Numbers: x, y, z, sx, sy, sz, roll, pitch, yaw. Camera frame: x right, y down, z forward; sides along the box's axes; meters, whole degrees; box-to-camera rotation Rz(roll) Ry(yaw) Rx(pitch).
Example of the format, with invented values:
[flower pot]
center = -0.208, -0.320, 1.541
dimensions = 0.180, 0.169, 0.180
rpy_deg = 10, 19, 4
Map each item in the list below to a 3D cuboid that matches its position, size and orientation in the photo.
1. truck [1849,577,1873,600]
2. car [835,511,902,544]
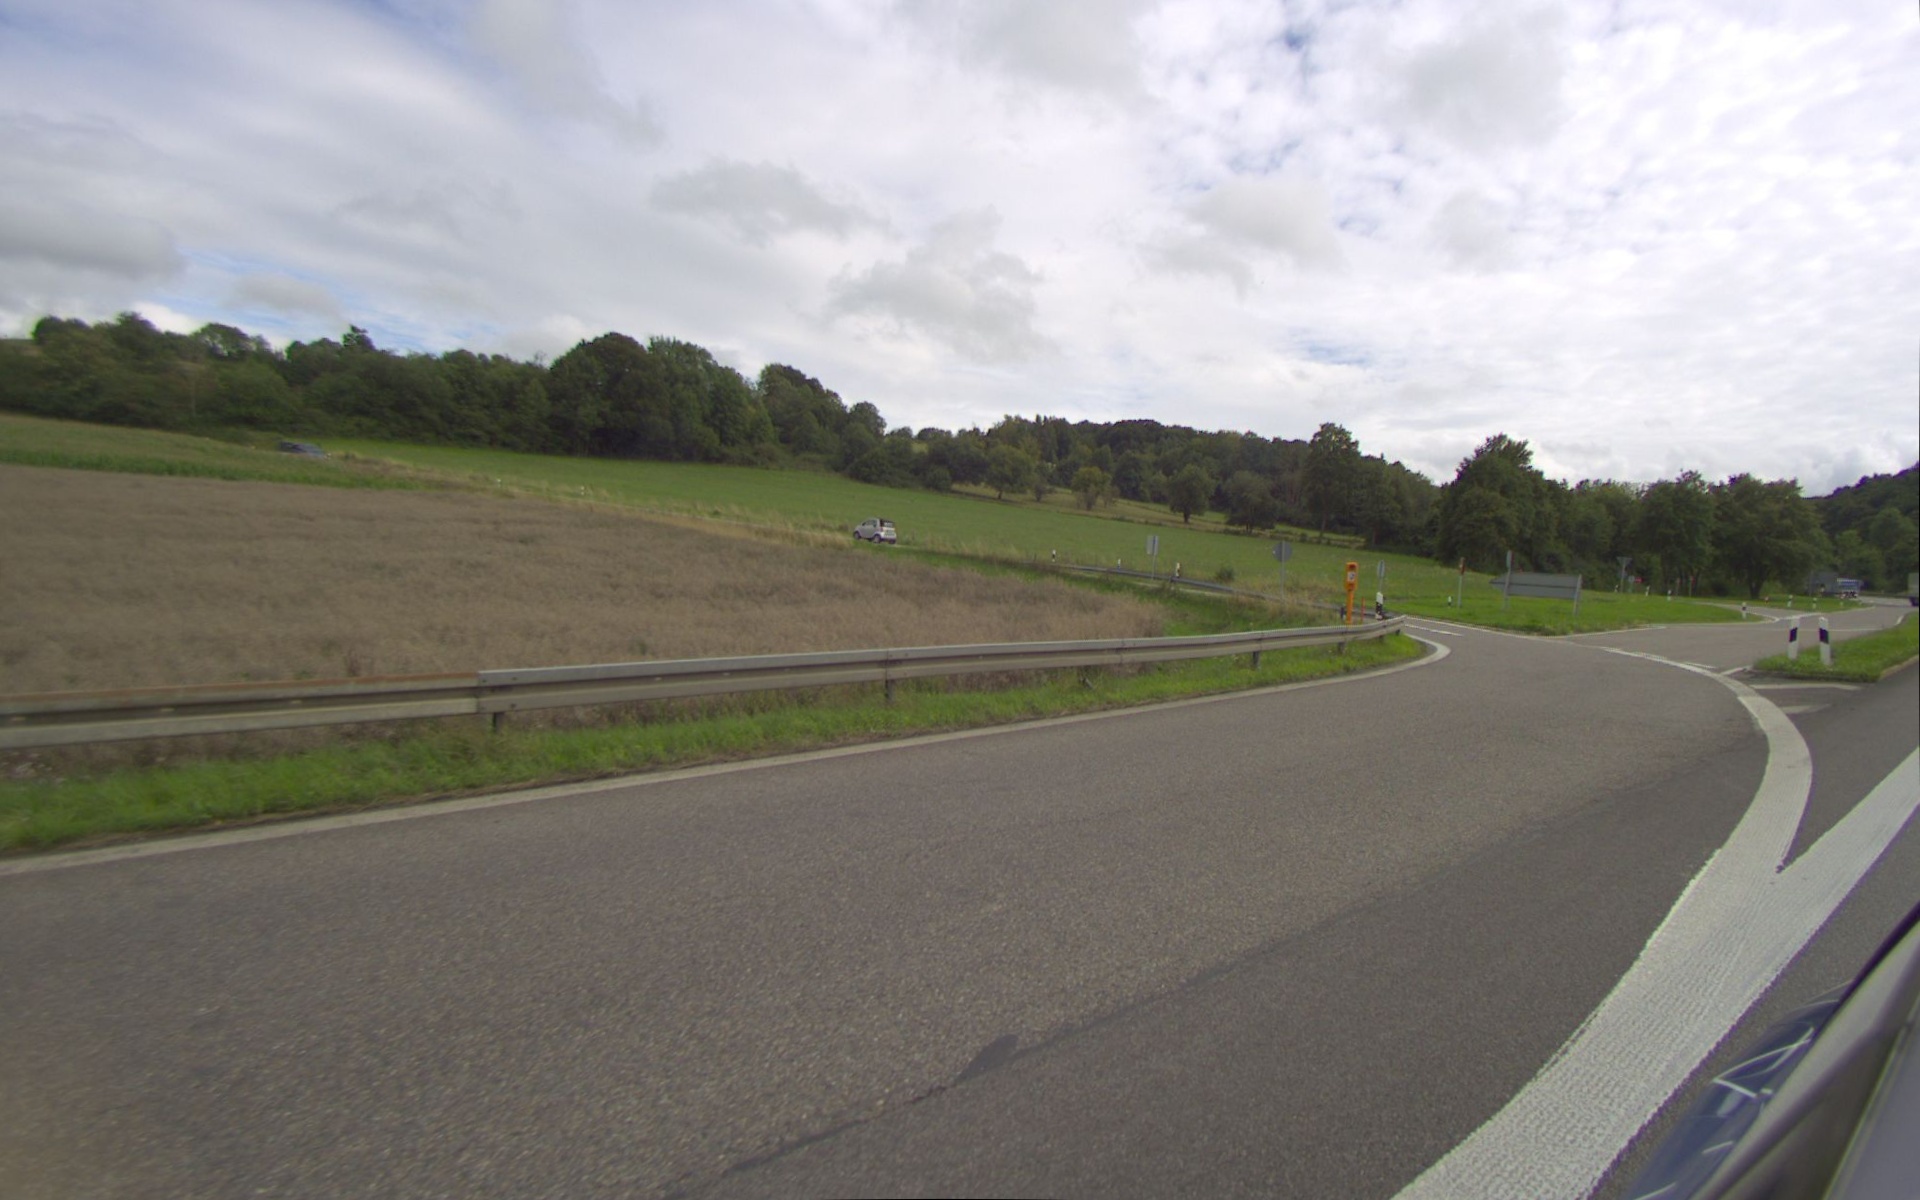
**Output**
[truck]
center = 168.538, -2.217, 189.317
dimensions = 2.782, 4.020, 5.863
rpy_deg = 2, 3, 37
[car]
center = -5.872, -4.641, 64.633
dimensions = 3.982, 1.569, 1.760
rpy_deg = 11, 5, 36
